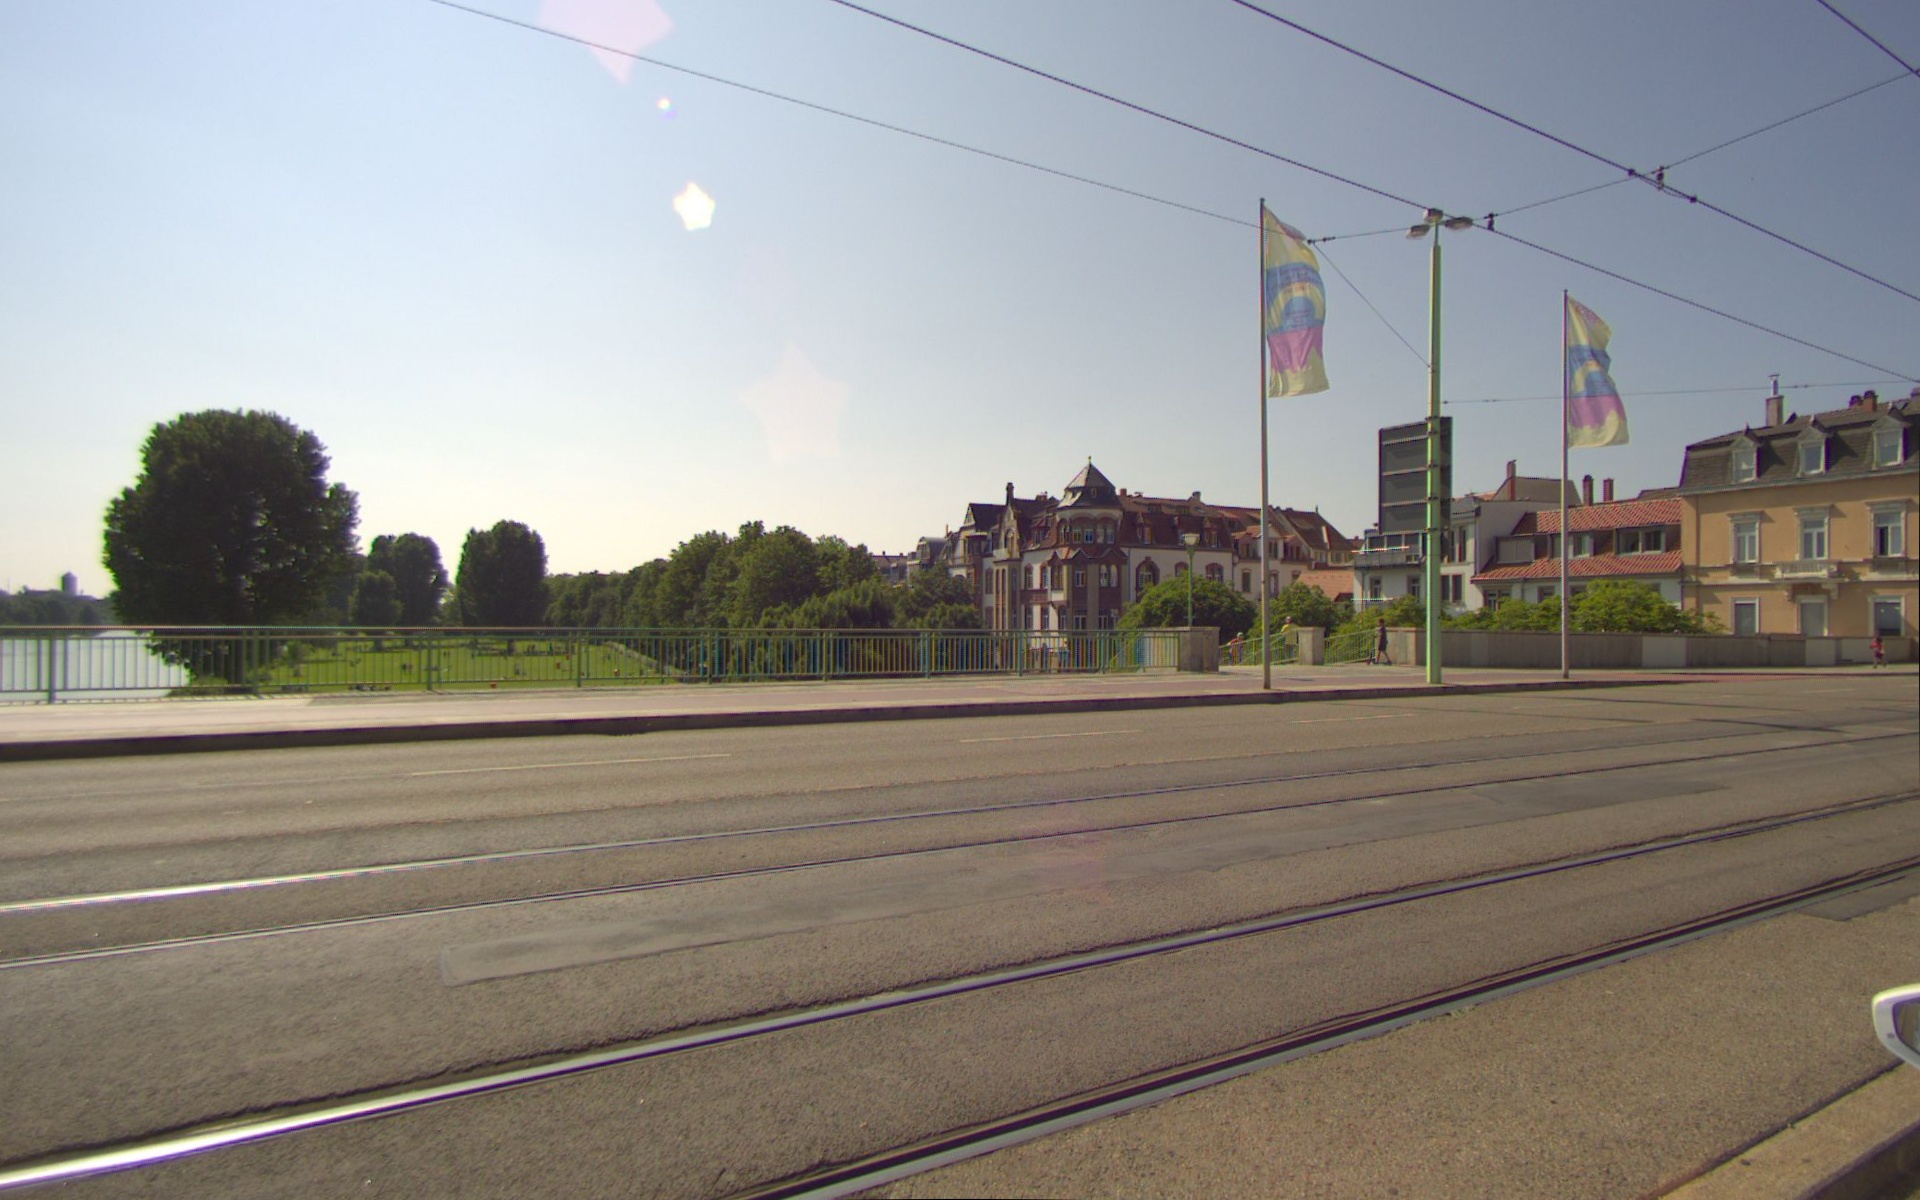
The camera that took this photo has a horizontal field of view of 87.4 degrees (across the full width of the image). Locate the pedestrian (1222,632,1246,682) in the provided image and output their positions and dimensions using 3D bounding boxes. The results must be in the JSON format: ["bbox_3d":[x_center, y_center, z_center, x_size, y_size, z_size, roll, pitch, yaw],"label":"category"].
[{"bbox_3d":[9.386,1.956,34.417,0.408,1.654,0.623,1,1,-27],"label":"pedestrian"}]

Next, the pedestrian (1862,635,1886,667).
[{"bbox_3d":[34.008,1.899,37.390,0.537,1.161,0.410,1,3,-25],"label":"pedestrian"}]

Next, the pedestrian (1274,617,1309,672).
[{"bbox_3d":[10.948,1.463,33.174,0.790,1.804,0.744,1,-1,-22],"label":"pedestrian"}]

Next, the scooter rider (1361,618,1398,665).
[{"bbox_3d":[12.566,1.228,30.124,0.588,1.333,0.768,2,3,-18],"label":"scooter rider"}]

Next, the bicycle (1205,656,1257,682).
[{"bbox_3d":[9.279,2.350,34.419,0.614,0.726,1.921,0,1,-25],"label":"bicycle"}]

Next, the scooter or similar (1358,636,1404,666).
[{"bbox_3d":[12.596,1.517,30.074,0.945,0.793,0.779,2,3,-18],"label":"scooter or similar"}]
